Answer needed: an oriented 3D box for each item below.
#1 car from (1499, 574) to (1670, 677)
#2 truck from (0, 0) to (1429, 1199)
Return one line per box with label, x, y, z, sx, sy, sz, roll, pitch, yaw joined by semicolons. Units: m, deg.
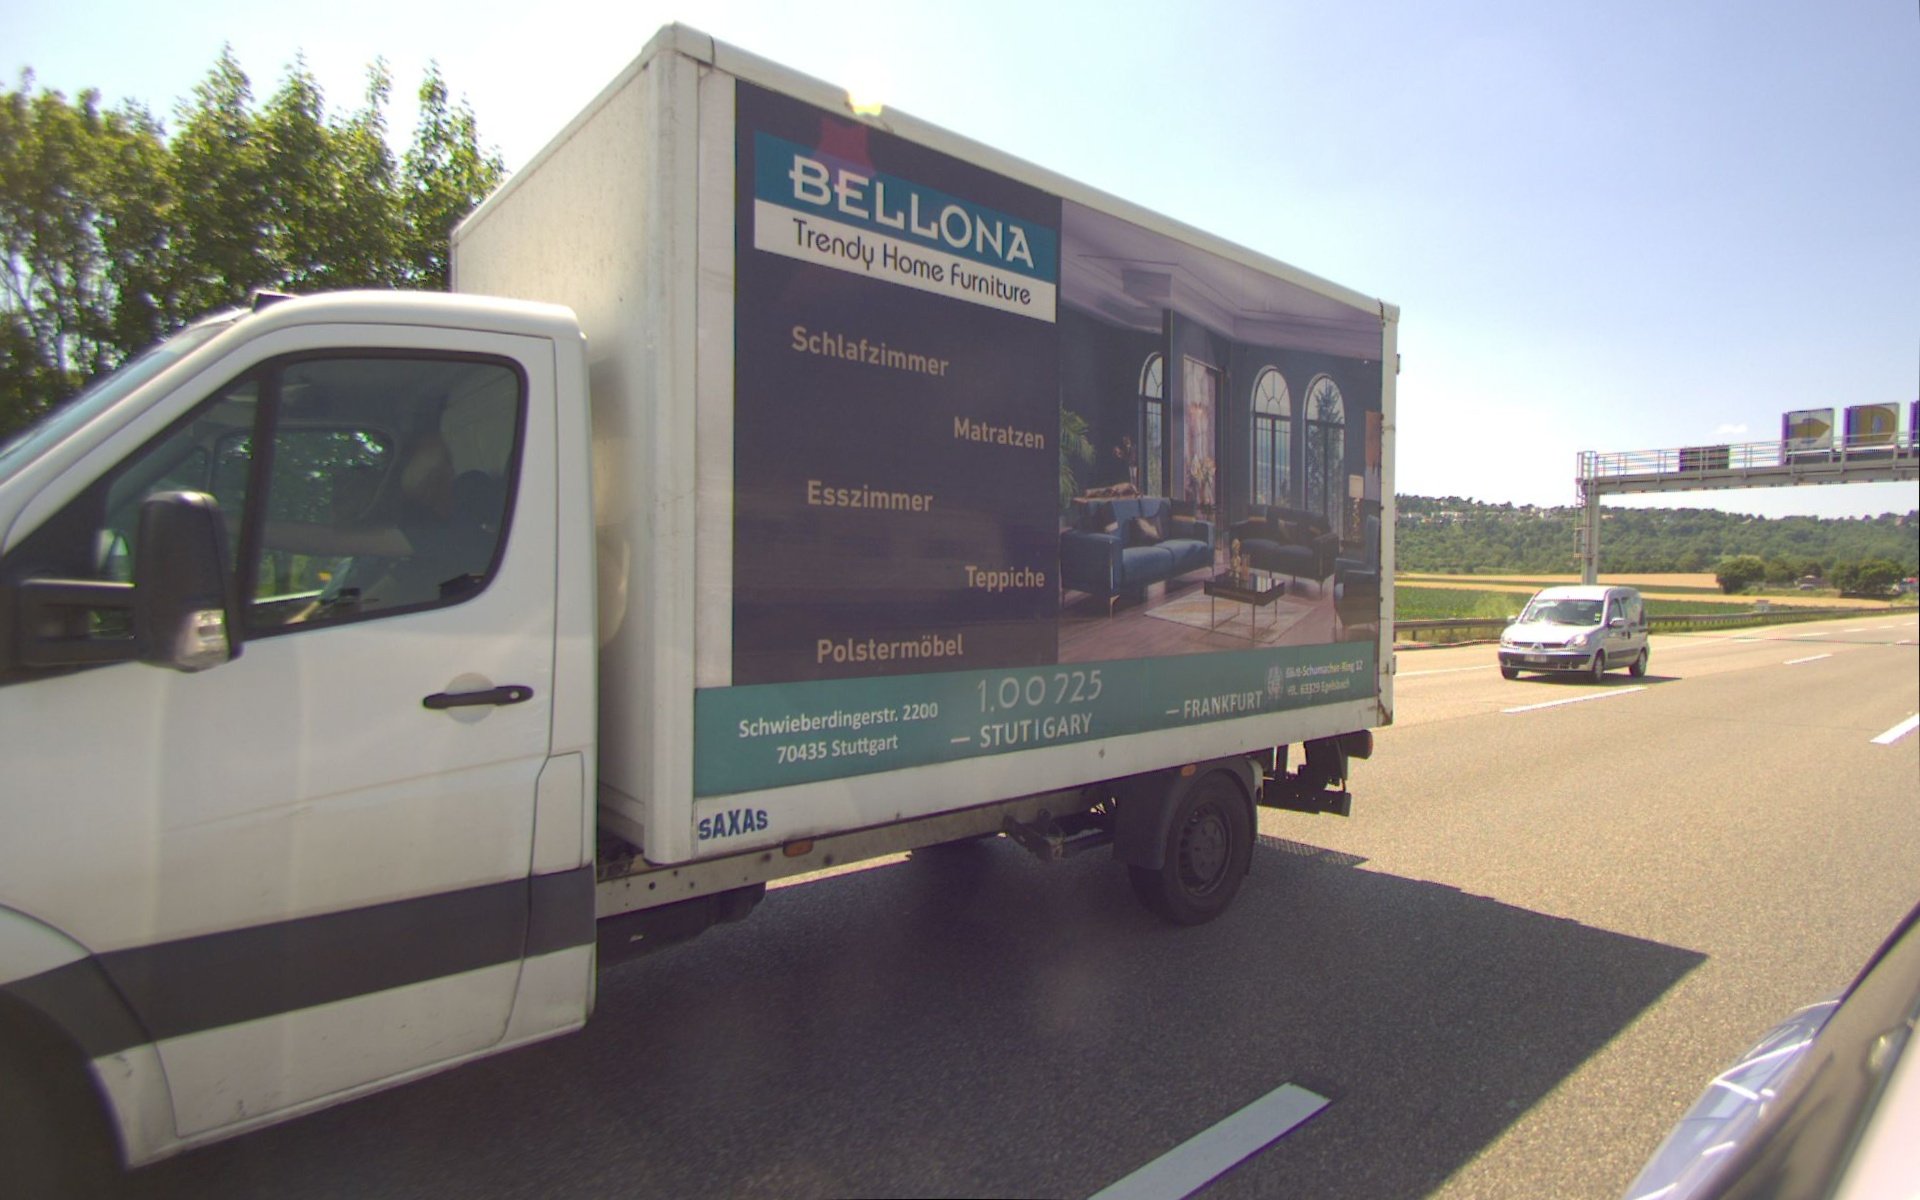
car;11.880;0.439;19.162;3.902;1.759;1.630;0;0;-40
truck;-0.666;-0.170;4.263;6.633;3.106;2.324;0;0;-41
